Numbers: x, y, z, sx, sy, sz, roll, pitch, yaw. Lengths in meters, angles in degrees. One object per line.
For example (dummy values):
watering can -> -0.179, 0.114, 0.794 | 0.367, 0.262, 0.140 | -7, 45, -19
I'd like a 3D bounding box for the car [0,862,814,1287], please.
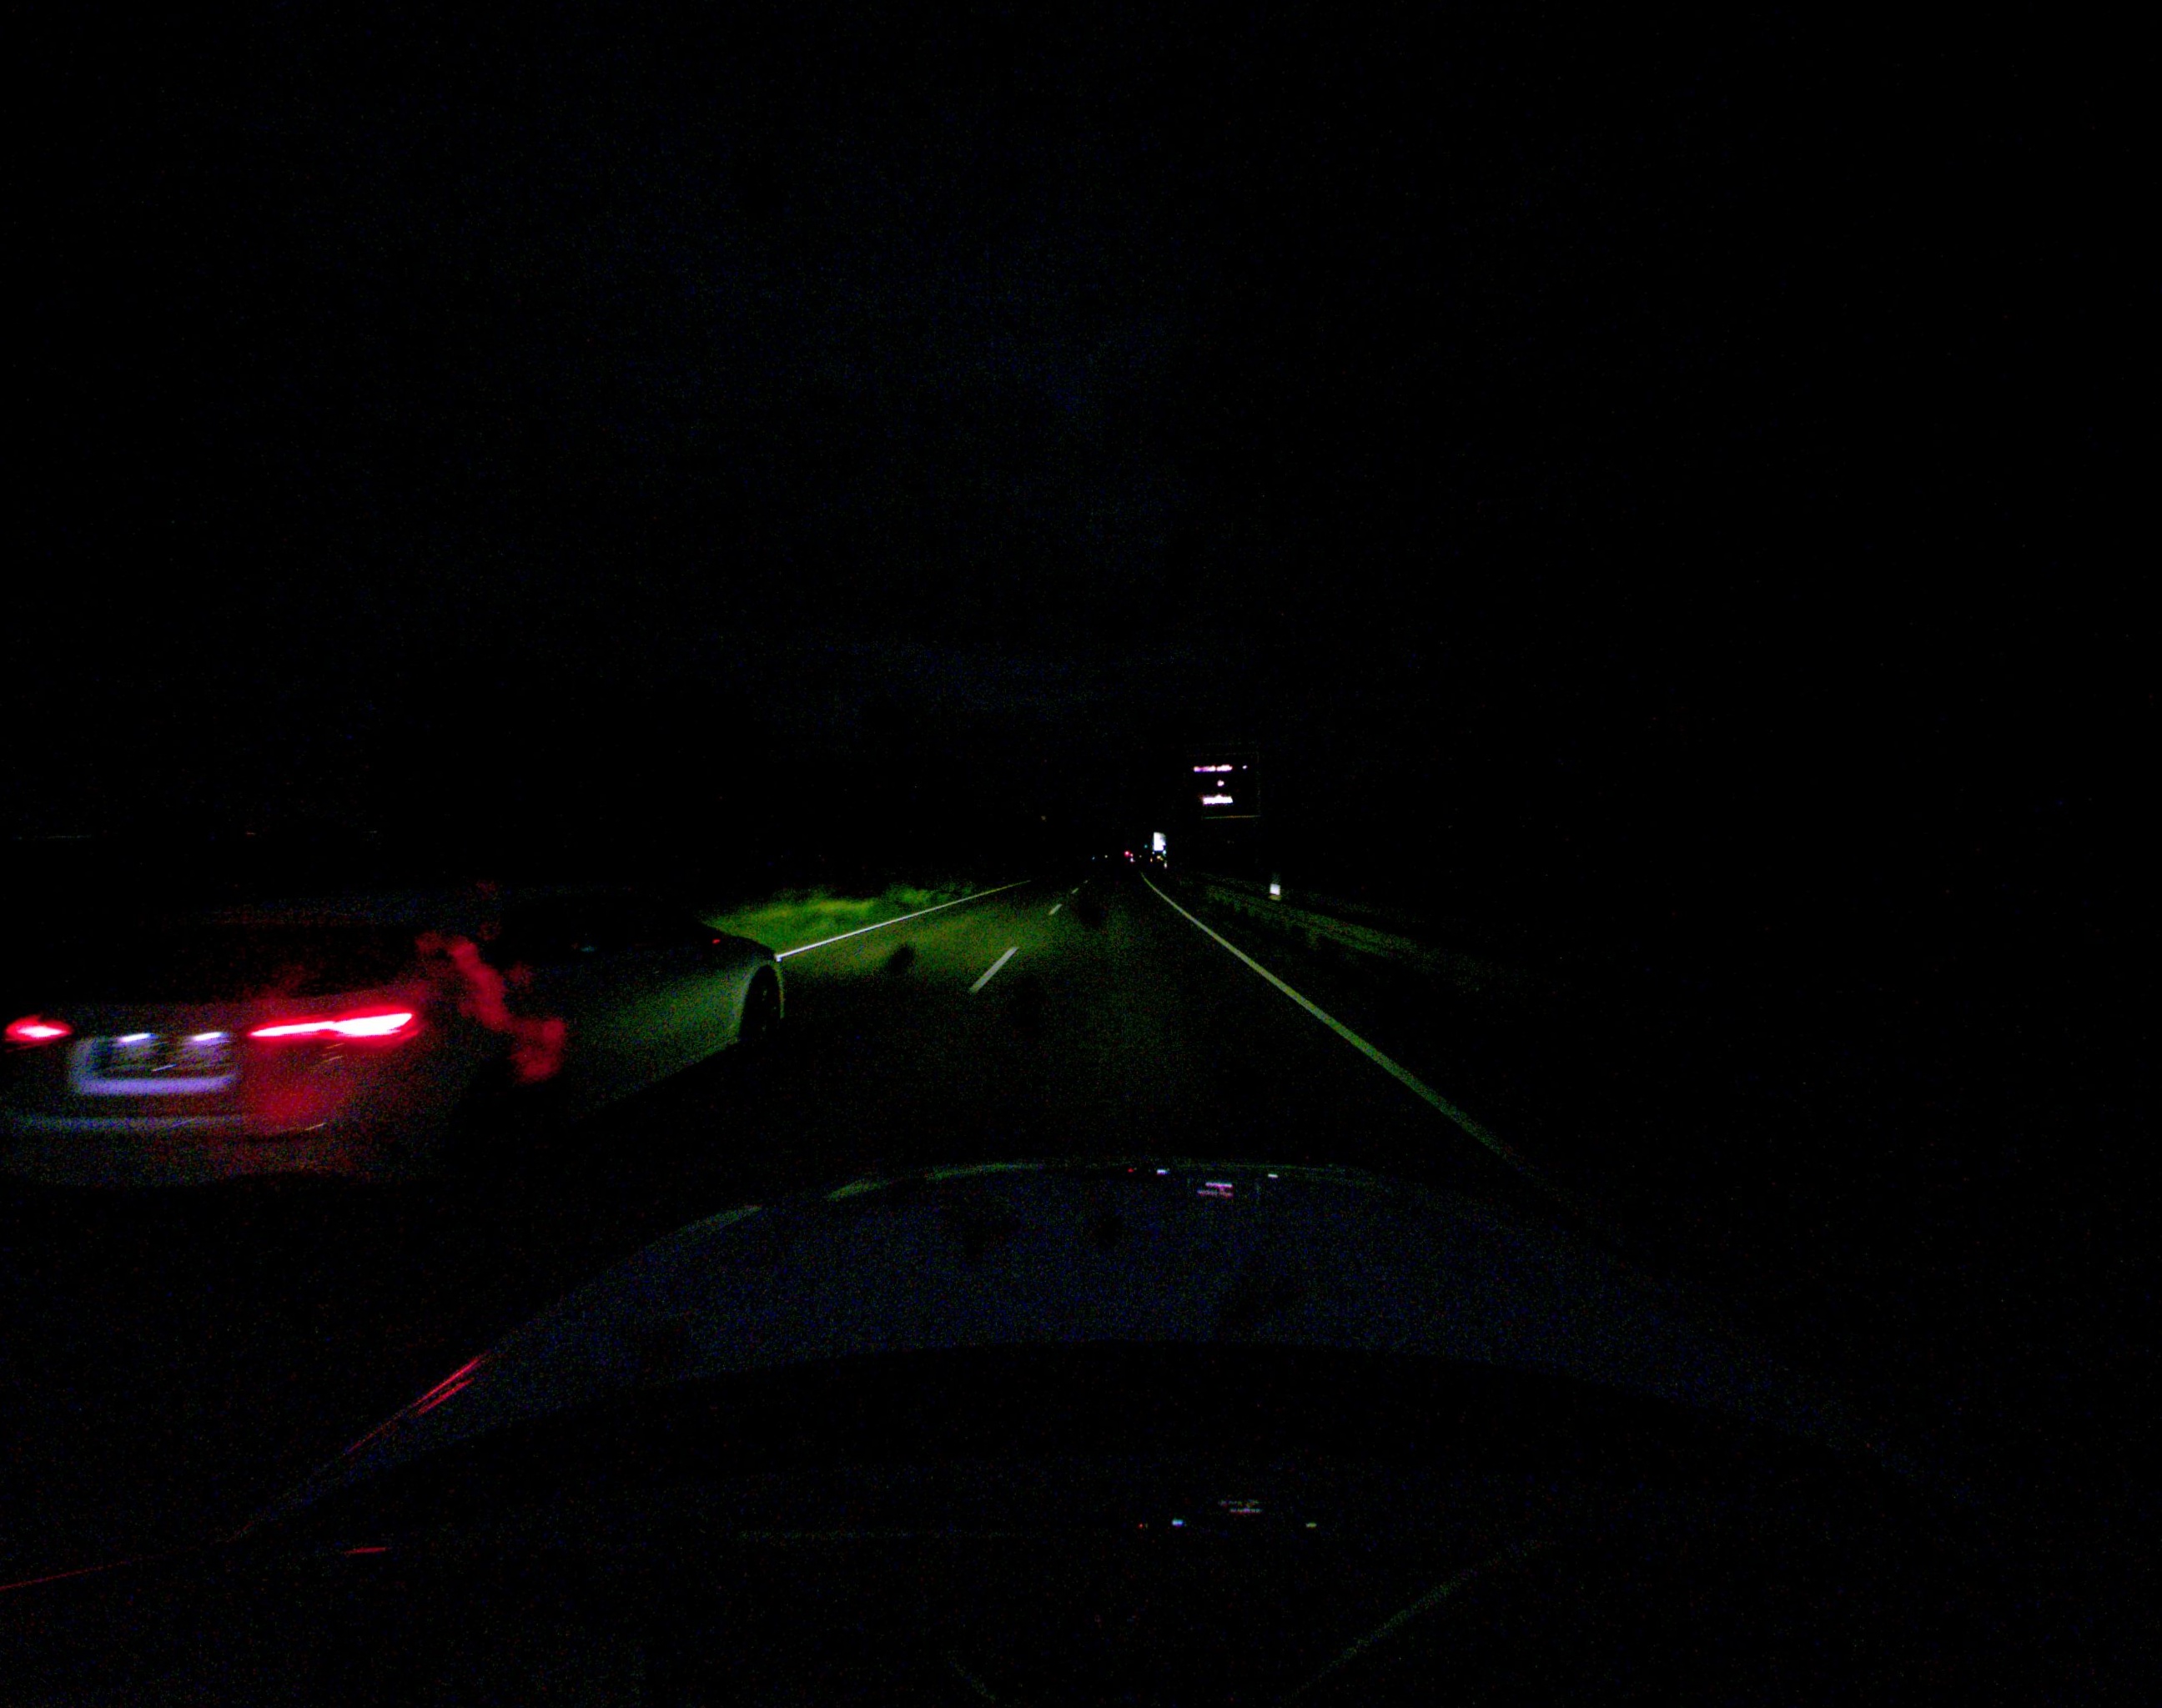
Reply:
car -> -3.343, 0.815, 5.224 | 1.636, 1.490, 4.581 | -1, 0, 1
